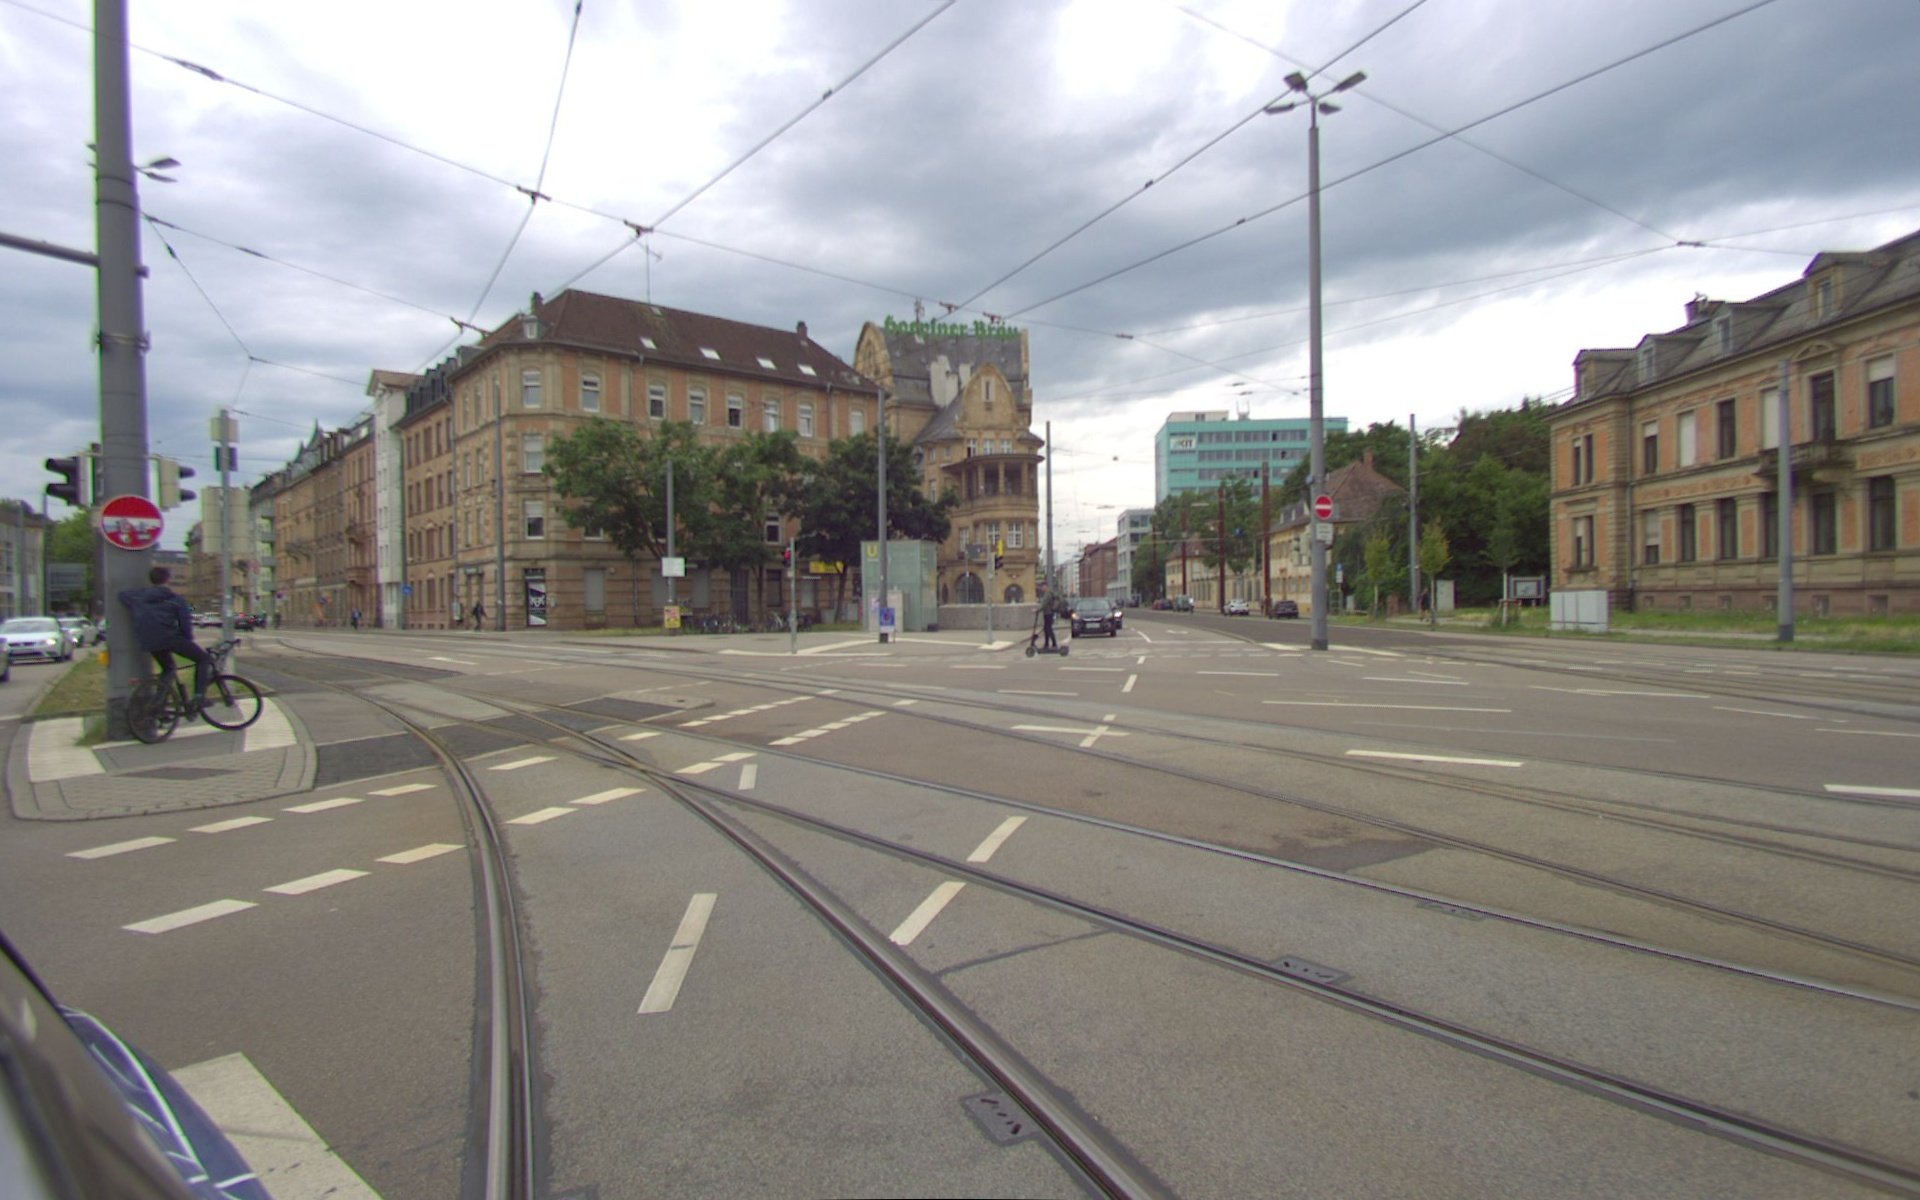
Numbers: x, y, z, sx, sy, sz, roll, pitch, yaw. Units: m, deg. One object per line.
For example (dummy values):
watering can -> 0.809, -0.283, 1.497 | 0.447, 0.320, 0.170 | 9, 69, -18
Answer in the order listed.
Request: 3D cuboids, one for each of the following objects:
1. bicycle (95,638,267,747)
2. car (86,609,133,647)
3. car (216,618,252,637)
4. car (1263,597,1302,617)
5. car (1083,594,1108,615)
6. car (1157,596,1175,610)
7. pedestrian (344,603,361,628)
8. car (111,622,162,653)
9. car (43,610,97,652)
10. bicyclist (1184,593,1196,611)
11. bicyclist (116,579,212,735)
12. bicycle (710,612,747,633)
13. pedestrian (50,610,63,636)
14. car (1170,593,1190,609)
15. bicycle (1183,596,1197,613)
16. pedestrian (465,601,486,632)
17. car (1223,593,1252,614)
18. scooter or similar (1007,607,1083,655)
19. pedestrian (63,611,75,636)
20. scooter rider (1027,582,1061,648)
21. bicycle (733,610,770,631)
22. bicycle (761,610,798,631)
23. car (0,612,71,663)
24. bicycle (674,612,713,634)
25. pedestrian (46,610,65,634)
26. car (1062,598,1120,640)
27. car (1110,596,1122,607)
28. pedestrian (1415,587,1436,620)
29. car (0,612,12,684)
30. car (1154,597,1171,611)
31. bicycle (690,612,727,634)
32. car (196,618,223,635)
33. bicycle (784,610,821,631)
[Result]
bicycle -> -8.695, 0.997, 11.377 | 0.522, 1.078, 1.609 | -1, 0, 9
car -> -48.157, 1.536, 57.284 | 1.969, 2.029, 4.006 | -1, 0, -40
car -> -58.964, 2.223, 82.161 | 1.861, 1.481, 4.469 | -1, 0, -43
car -> 24.319, 0.550, 76.448 | 1.976, 1.442, 3.992 | -1, 0, 6
car -> 11.559, 0.403, 86.454 | 1.810, 1.773, 3.996 | -1, 0, 5
car -> 28.307, 0.386, 138.955 | 1.976, 1.863, 3.992 | -1, 0, 6
pedestrian -> -45.864, 1.192, 76.406 | 0.714, 1.846, 0.916 | -1, -1, 13
car -> -51.192, 2.281, 63.026 | 2.336, 1.768, 5.140 | -1, 0, -38
car -> -45.286, 1.549, 51.571 | 1.969, 2.029, 4.006 | -1, 0, -40
bicyclist -> 24.043, 0.197, 105.995 | 1.080, 1.796, 1.015 | -1, 0, 7
bicyclist -> -8.743, 0.610, 11.127 | 0.512, 1.651, 0.653 | -1, 0, 10
bicycle -> -11.586, 1.120, 50.549 | 0.743, 1.038, 2.400 | -1, 0, -41
pedestrian -> -60.324, 1.538, 67.564 | 0.653, 1.693, 0.651 | -1, 0, -42
car -> 26.943, 0.112, 124.242 | 1.976, 1.863, 3.992 | -1, 0, 6
bicycle -> 24.028, 0.468, 105.900 | 1.073, 1.763, 3.080 | -1, 0, 6
pedestrian -> -26.804, 0.908, 55.965 | 0.800, 1.688, 0.799 | -1, 0, -45
car -> 25.456, 0.386, 92.988 | 1.976, 1.863, 3.992 | -1, -1, 7
scooter or similar -> 2.173, 0.797, 25.943 | 1.885, 1.174, 0.572 | -1, 0, 9
pedestrian -> -67.358, 1.768, 76.540 | 0.642, 1.930, 0.603 | -1, 0, -41
scooter rider -> 2.151, 0.384, 25.943 | 0.812, 1.640, 0.568 | -1, 0, 9
bicycle -> -10.560, 1.042, 51.197 | 0.743, 1.038, 2.400 | 0, -1, -41
bicycle -> -9.317, 1.041, 52.136 | 0.743, 1.038, 2.400 | -1, 0, -41
car -> -29.039, 1.139, 31.431 | 1.942, 1.467, 4.201 | -1, 0, -39
bicycle -> -12.991, 1.116, 49.280 | 0.824, 1.038, 2.400 | -1, 0, -41
pedestrian -> -79.766, 1.952, 89.256 | 1.160, 2.029, 1.033 | -1, 0, -41
car -> 5.377, 0.746, 42.071 | 1.973, 1.623, 4.242 | -1, 0, 2
car -> 31.850, 0.306, 206.206 | 1.974, 2.029, 3.995 | -1, 0, 4
pedestrian -> 26.057, 0.182, 56.674 | 0.800, 1.846, 0.848 | -1, 0, 6
car -> -20.746, 0.979, 20.804 | 1.783, 1.417, 3.987 | 0, -1, -43
car -> 28.796, 0.602, 144.281 | 1.976, 1.863, 3.992 | -1, 0, 6
bicycle -> -12.396, 1.111, 49.812 | 0.743, 1.038, 2.400 | -1, 0, -41
car -> -79.445, 2.801, 107.085 | 1.808, 1.657, 4.235 | -1, 0, -43
bicycle -> -8.267, 1.082, 53.096 | 0.743, 1.038, 2.400 | -1, 0, -41
